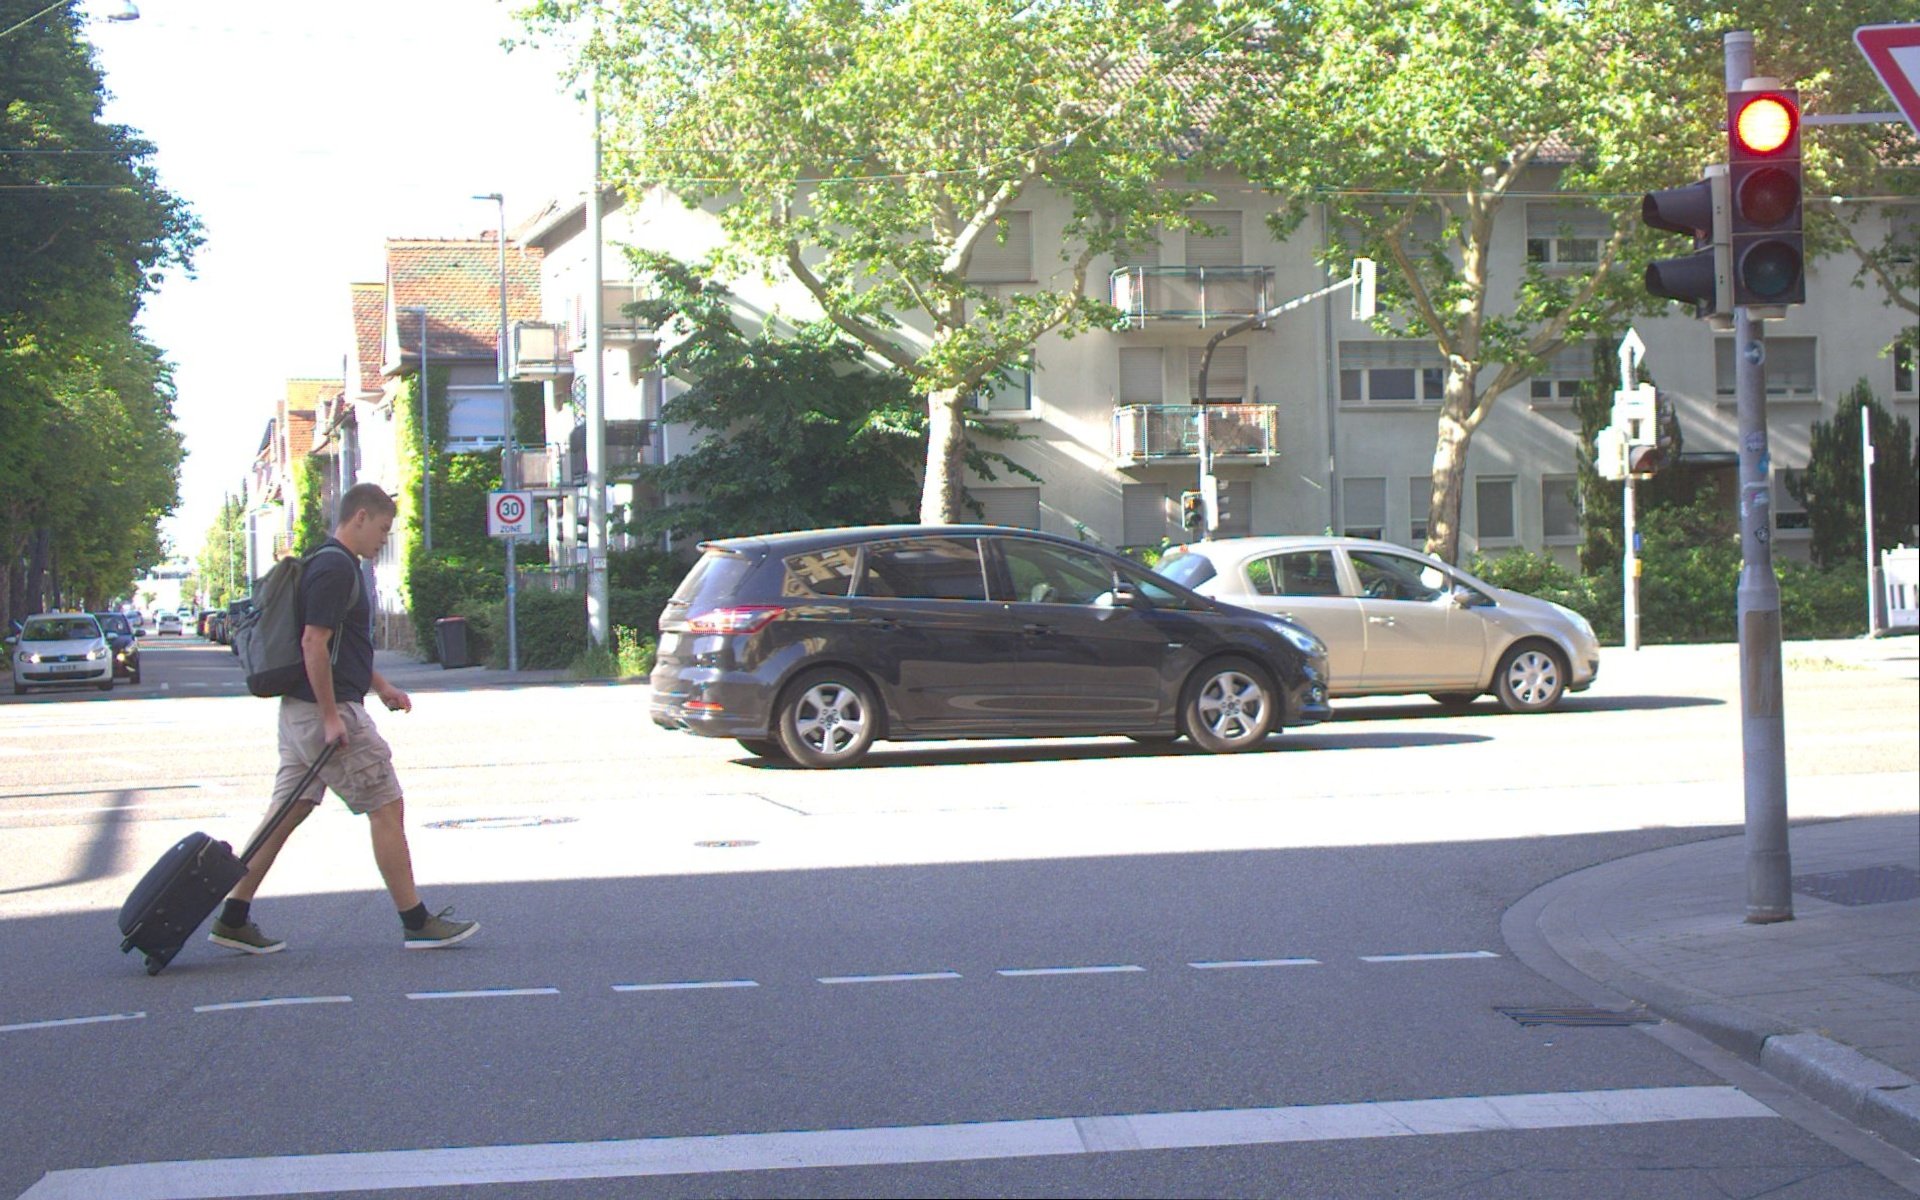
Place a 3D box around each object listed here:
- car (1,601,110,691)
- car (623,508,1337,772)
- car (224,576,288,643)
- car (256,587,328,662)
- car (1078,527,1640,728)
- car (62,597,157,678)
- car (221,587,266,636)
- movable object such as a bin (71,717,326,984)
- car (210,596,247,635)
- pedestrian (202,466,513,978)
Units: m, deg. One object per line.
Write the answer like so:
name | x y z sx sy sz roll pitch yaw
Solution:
car | -16.642 0.817 63.352 1.698 1.478 3.535 -3 1 -12
car | 0.113 0.238 23.975 4.659 1.659 1.731 -1 1 -15
car | -21.447 0.267 104.638 1.772 1.912 3.535 -3 1 -12
car | -18.383 0.659 94.524 1.772 1.912 3.535 -3 1 -12
car | 3.228 0.185 27.993 4.200 1.451 1.679 -2 2 -15
car | -17.300 0.744 70.013 1.698 1.478 3.535 -3 1 -12
car | -30.523 0.486 146.434 1.772 1.912 3.535 -3 1 -12
movable object such as a bin | -2.776 0.901 12.539 0.861 0.889 0.509 -2 1 -13
car | -38.458 0.813 180.816 1.772 1.912 3.535 -3 1 -12
pedestrian | -2.292 0.437 13.016 1.065 1.842 0.749 -2 1 -13
